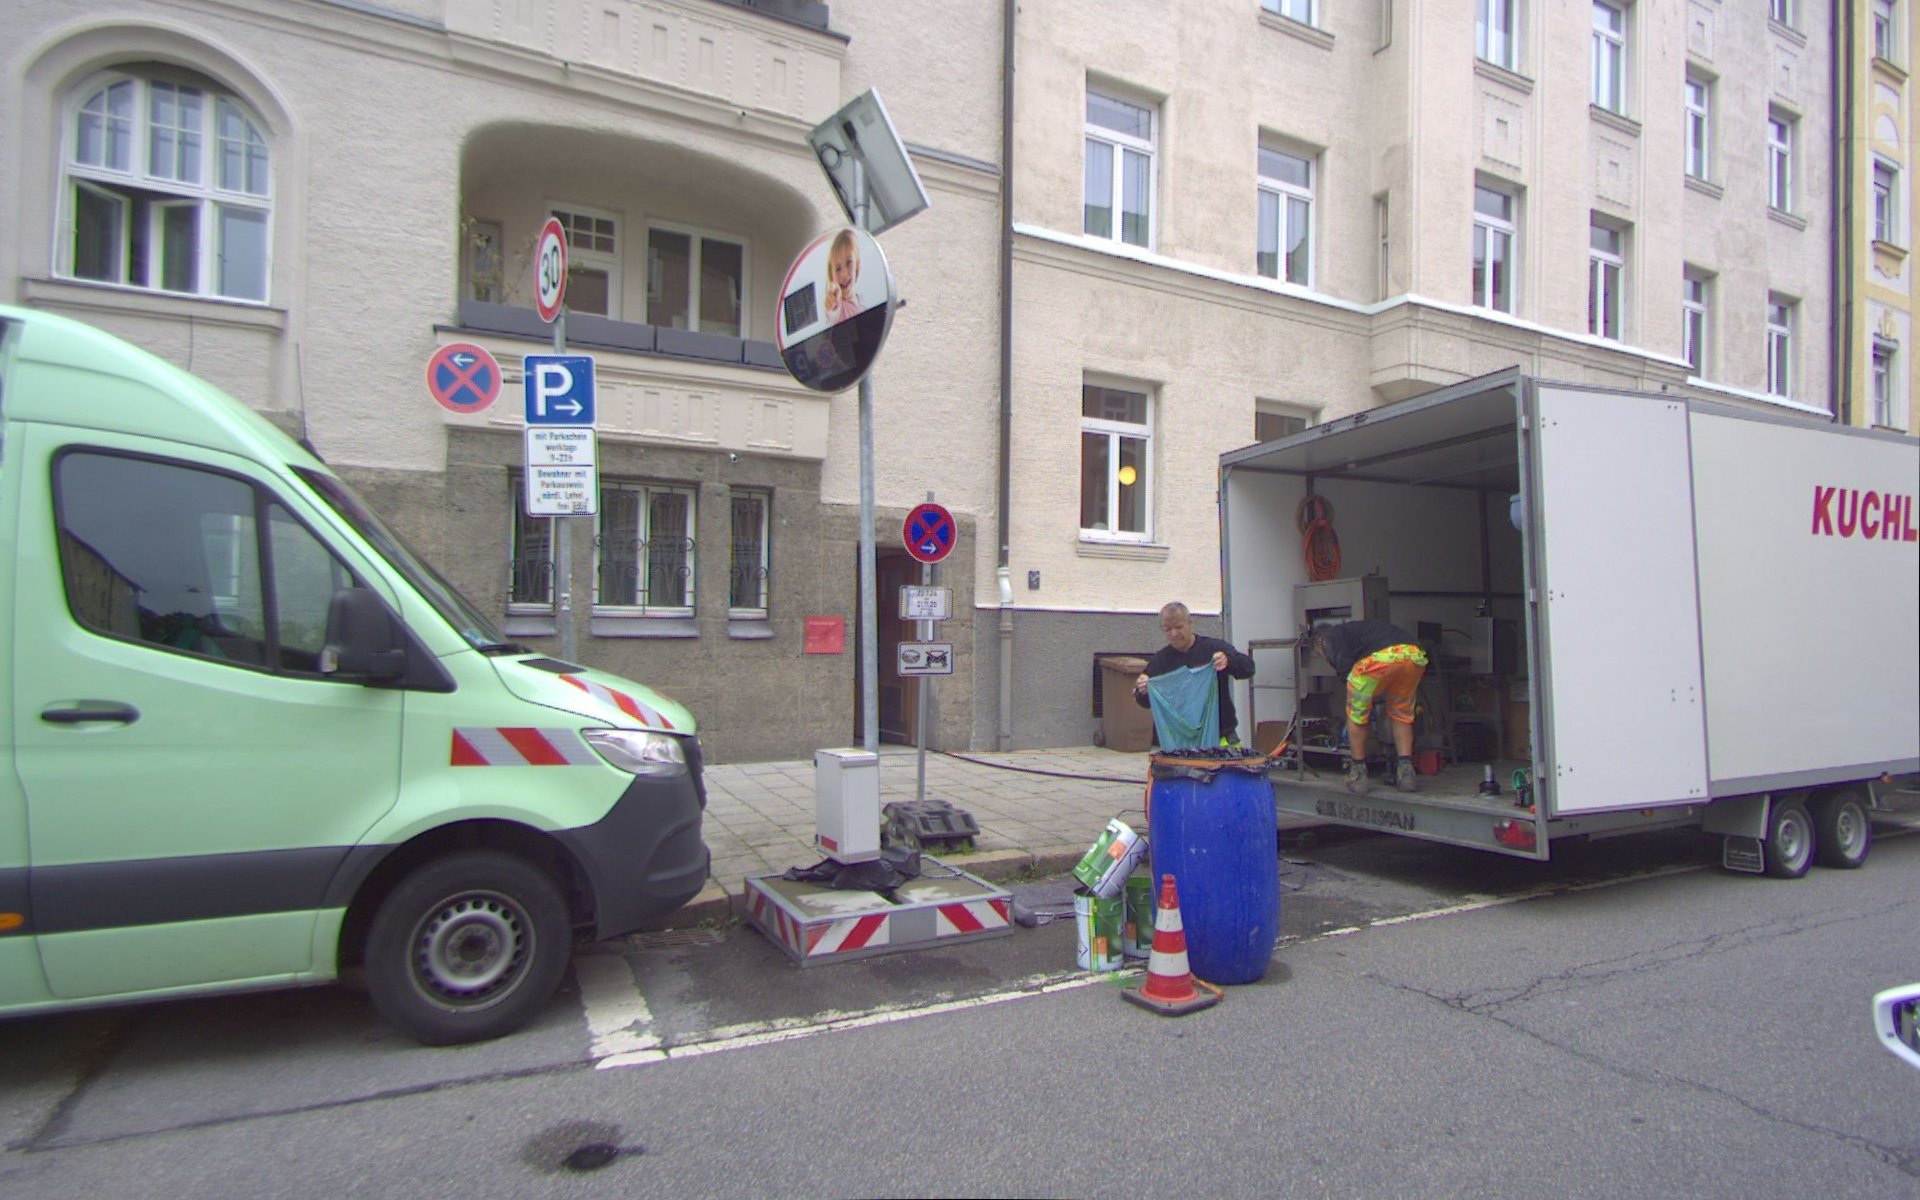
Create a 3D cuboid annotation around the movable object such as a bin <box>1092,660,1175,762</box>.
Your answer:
[{"bbox_3d":[2.025,1.277,11.754,0.720,1.143,0.647,2,-2,-24],"label":"movable object such as a bin"}]

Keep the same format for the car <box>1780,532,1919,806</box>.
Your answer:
[{"bbox_3d":[12.204,0.748,11.238,6.789,2.620,2.049,2,-6,-28],"label":"car"}]

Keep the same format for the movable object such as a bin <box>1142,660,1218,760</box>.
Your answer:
[{"bbox_3d":[2.636,1.300,12.050,0.630,1.143,0.647,2,-2,-24],"label":"movable object such as a bin"}]

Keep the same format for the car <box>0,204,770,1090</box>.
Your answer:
[{"bbox_3d":[-4.228,0.131,3.443,6.706,2.606,2.134,1,-2,-27],"label":"car"}]

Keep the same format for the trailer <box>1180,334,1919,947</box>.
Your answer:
[{"bbox_3d":[5.653,0.324,7.801,7.496,3.007,2.797,1,-5,-25],"label":"trailer"}]

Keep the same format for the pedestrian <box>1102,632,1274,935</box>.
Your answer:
[{"bbox_3d":[1.319,0.991,5.827,0.633,1.601,0.754,3,-3,-44],"label":"pedestrian"}]

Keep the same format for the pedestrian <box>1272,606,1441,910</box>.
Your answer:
[{"bbox_3d":[2.358,0.882,5.986,0.753,1.652,0.633,-1,-3,44],"label":"pedestrian"}]
